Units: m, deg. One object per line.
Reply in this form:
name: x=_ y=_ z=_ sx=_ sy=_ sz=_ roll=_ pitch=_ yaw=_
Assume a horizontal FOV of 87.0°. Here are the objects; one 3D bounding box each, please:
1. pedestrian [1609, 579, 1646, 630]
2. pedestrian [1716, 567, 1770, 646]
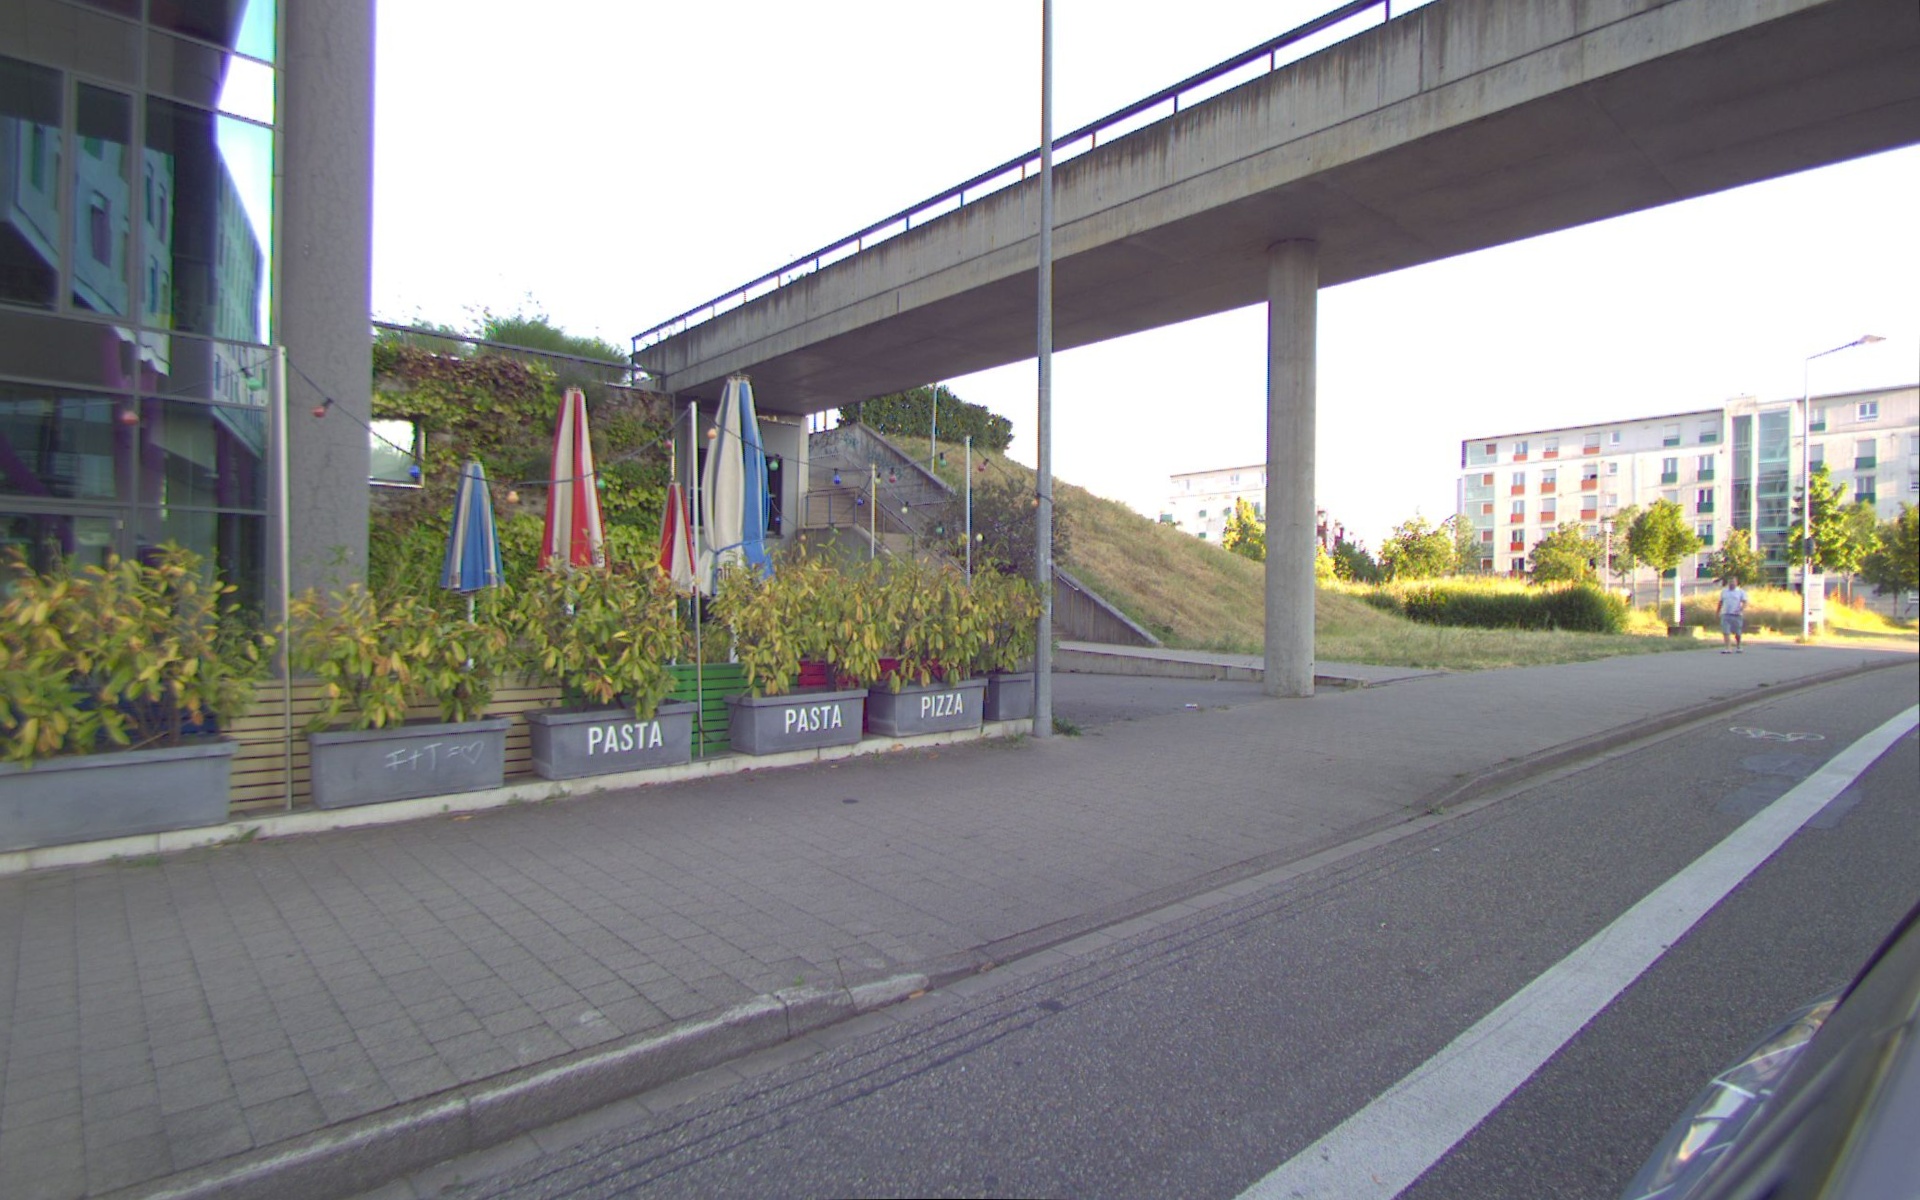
pedestrian: x=22.036 y=0.150 z=33.407 sx=0.844 sy=1.649 sz=0.737 roll=1 pitch=2 yaw=-40
pedestrian: x=17.863 y=0.144 z=23.092 sx=0.890 sy=1.745 sz=0.737 roll=1 pitch=2 yaw=-40
